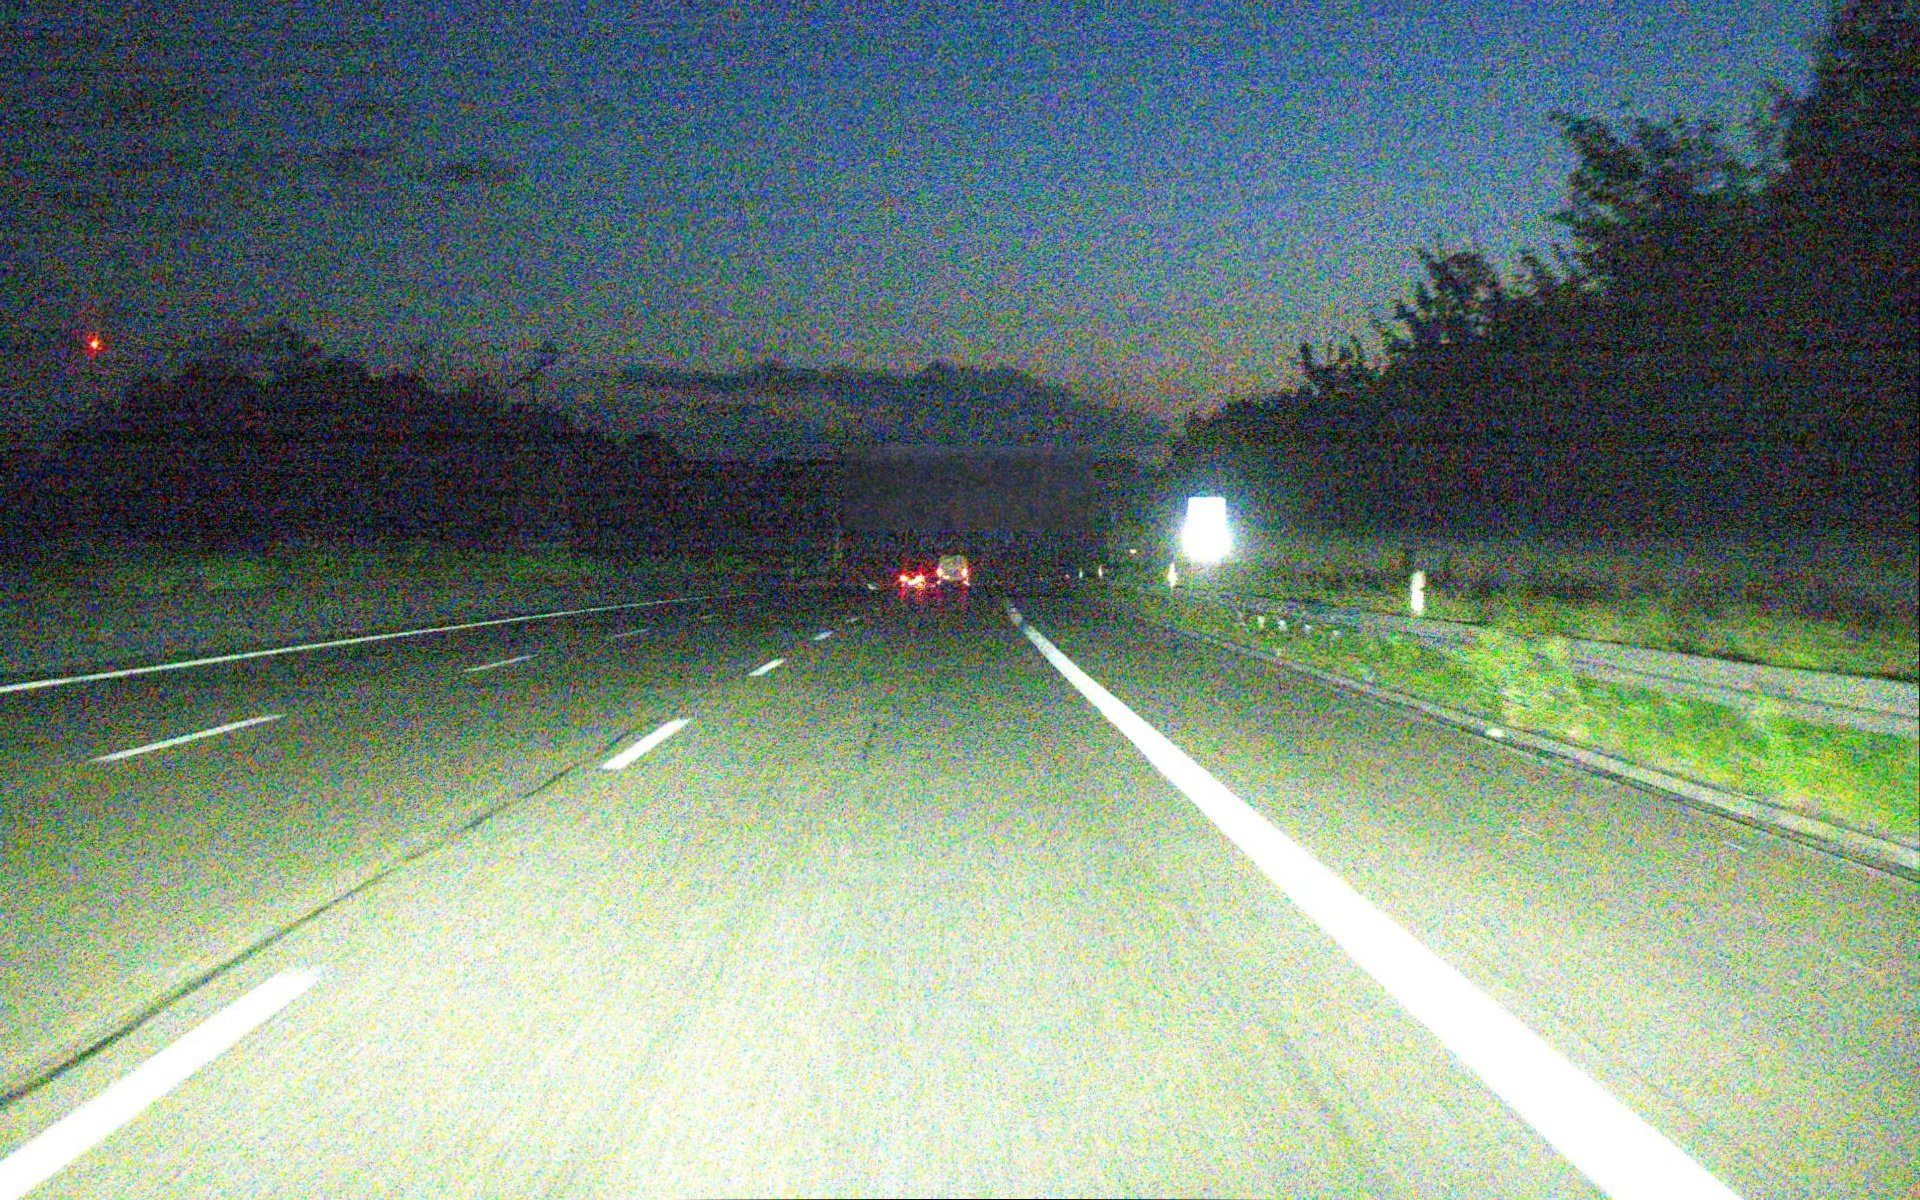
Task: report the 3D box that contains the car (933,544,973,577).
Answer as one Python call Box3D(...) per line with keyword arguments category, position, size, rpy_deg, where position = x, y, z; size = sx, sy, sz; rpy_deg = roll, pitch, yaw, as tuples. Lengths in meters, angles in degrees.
Box3D(category="car", position=(-0.487, -2.872, 248.123), size=(2.511, 2.306, 4.969), rpy_deg=(0, 0, 4))
